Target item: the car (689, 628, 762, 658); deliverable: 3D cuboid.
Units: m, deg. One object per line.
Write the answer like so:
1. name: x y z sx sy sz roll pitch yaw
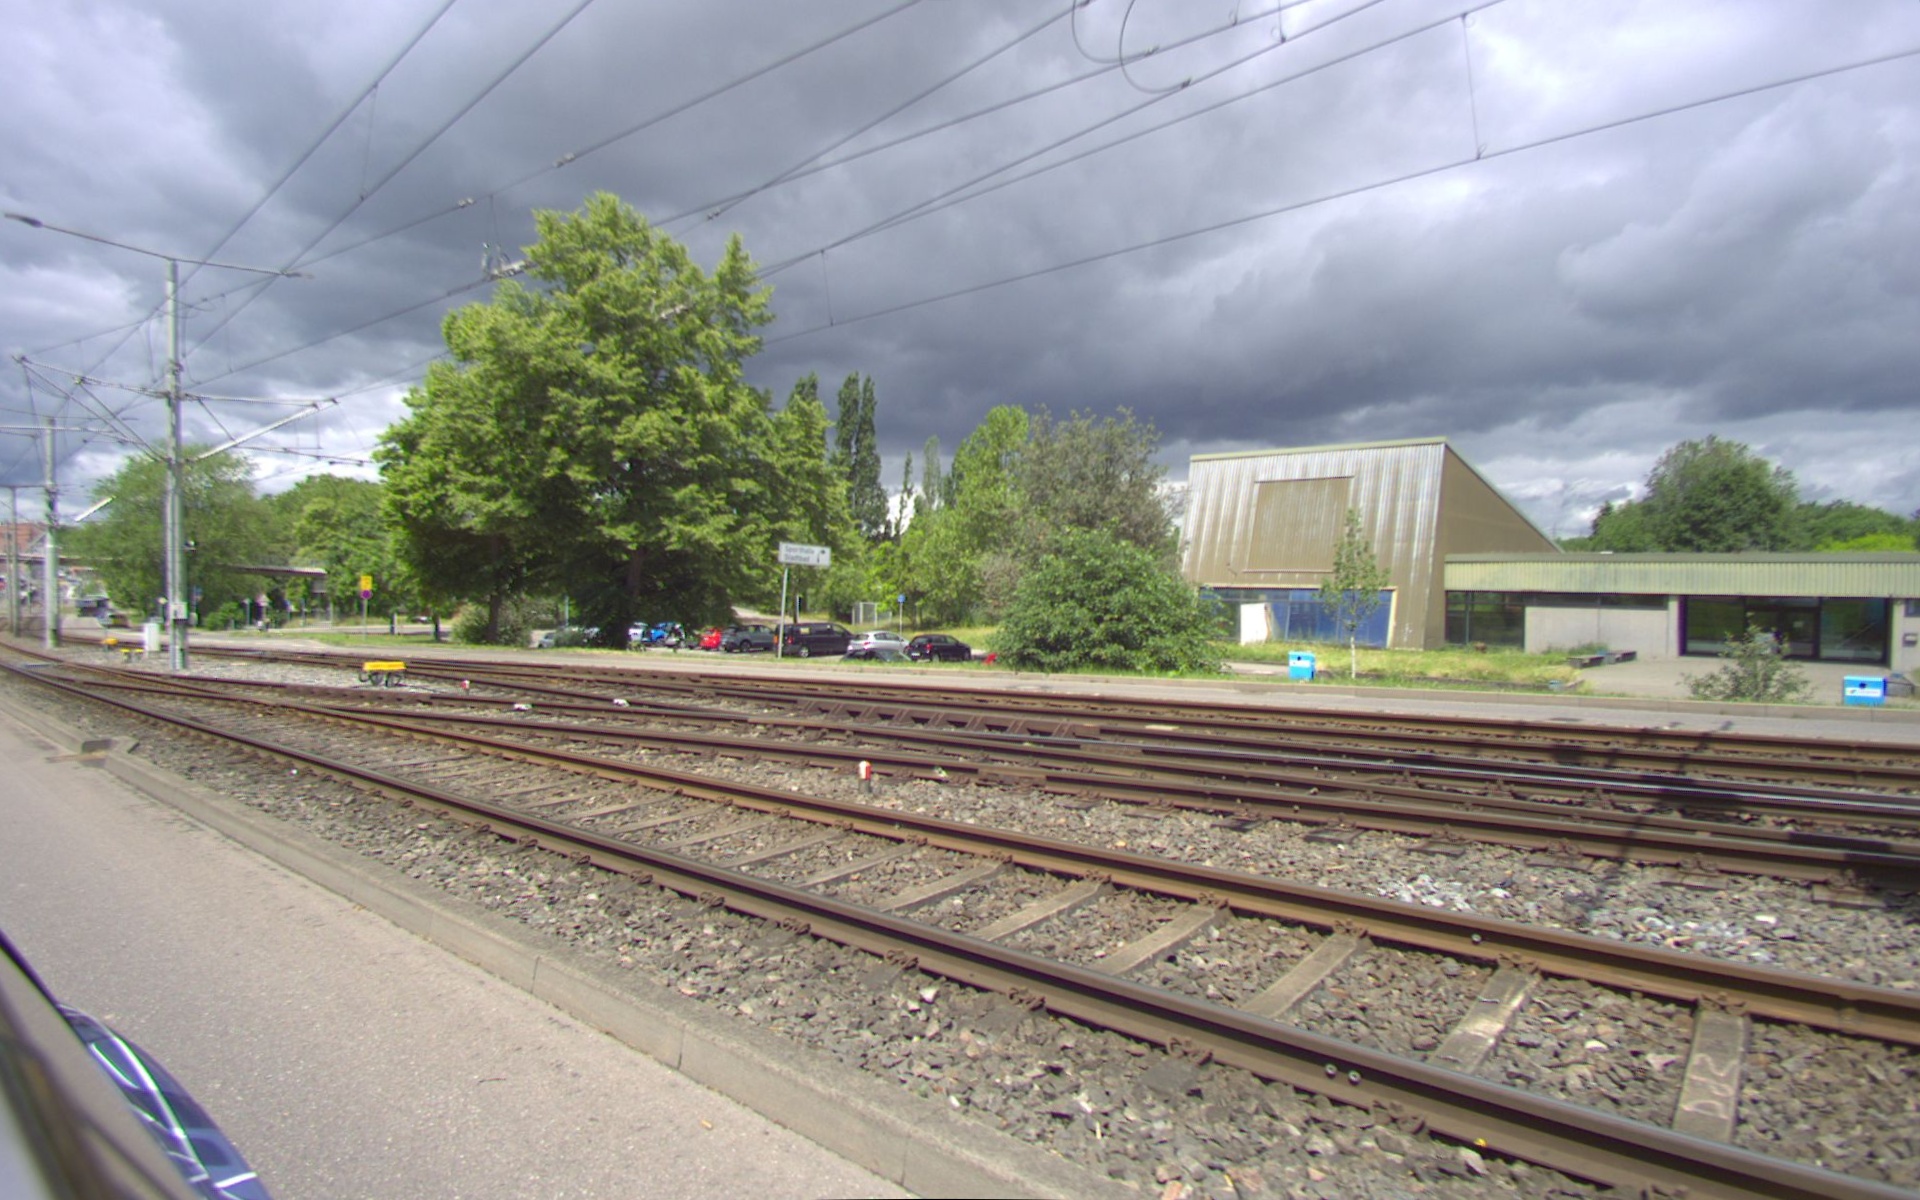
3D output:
1. car: -14.646 2.680 63.294 3.906 1.592 1.999 -2 0 -41

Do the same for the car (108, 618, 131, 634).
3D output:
1. car: -86.677 2.654 104.383 1.668 1.461 3.904 -2 3 -41

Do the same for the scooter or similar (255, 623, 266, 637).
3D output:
1. scooter or similar: -59.266 2.520 85.729 0.701 1.156 0.789 -2 2 -40

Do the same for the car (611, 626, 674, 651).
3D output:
1. car: -22.580 2.727 72.029 3.864 1.592 1.847 -2 0 -35

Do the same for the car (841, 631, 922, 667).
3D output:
1. car: -4.207 2.585 54.352 3.936 1.611 1.862 -2 1 -38

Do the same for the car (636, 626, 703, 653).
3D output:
1. car: -19.708 2.645 68.711 3.906 1.592 1.872 -2 0 -41

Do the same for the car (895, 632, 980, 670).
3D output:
1. car: -1.118 2.556 51.186 3.937 1.611 1.862 -2 1 -40

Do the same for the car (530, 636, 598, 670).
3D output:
1. car: -22.721 3.000 57.977 4.068 1.768 1.968 -3 0 42

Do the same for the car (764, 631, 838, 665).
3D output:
1. car: -8.890 2.651 56.606 3.550 1.649 1.955 -2 1 -38

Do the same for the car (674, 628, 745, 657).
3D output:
1. car: -16.010 2.681 64.848 3.906 1.592 1.999 -2 0 -41

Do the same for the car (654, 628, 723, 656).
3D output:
1. car: -17.855 2.748 66.585 3.906 1.592 1.996 -2 0 -41

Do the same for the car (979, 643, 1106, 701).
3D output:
1. car: 2.756 2.387 34.187 3.998 1.785 1.797 -2 -2 41

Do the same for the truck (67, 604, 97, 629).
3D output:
1. truck: -130.359 2.450 150.186 2.838 3.344 9.038 -3 3 -44

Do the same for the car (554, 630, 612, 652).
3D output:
1. car: -28.385 3.071 76.217 3.820 1.401 1.576 -2 3 -39

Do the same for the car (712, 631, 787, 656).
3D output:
1. car: -12.854 2.629 61.920 4.032 1.261 1.999 -3 0 -41
